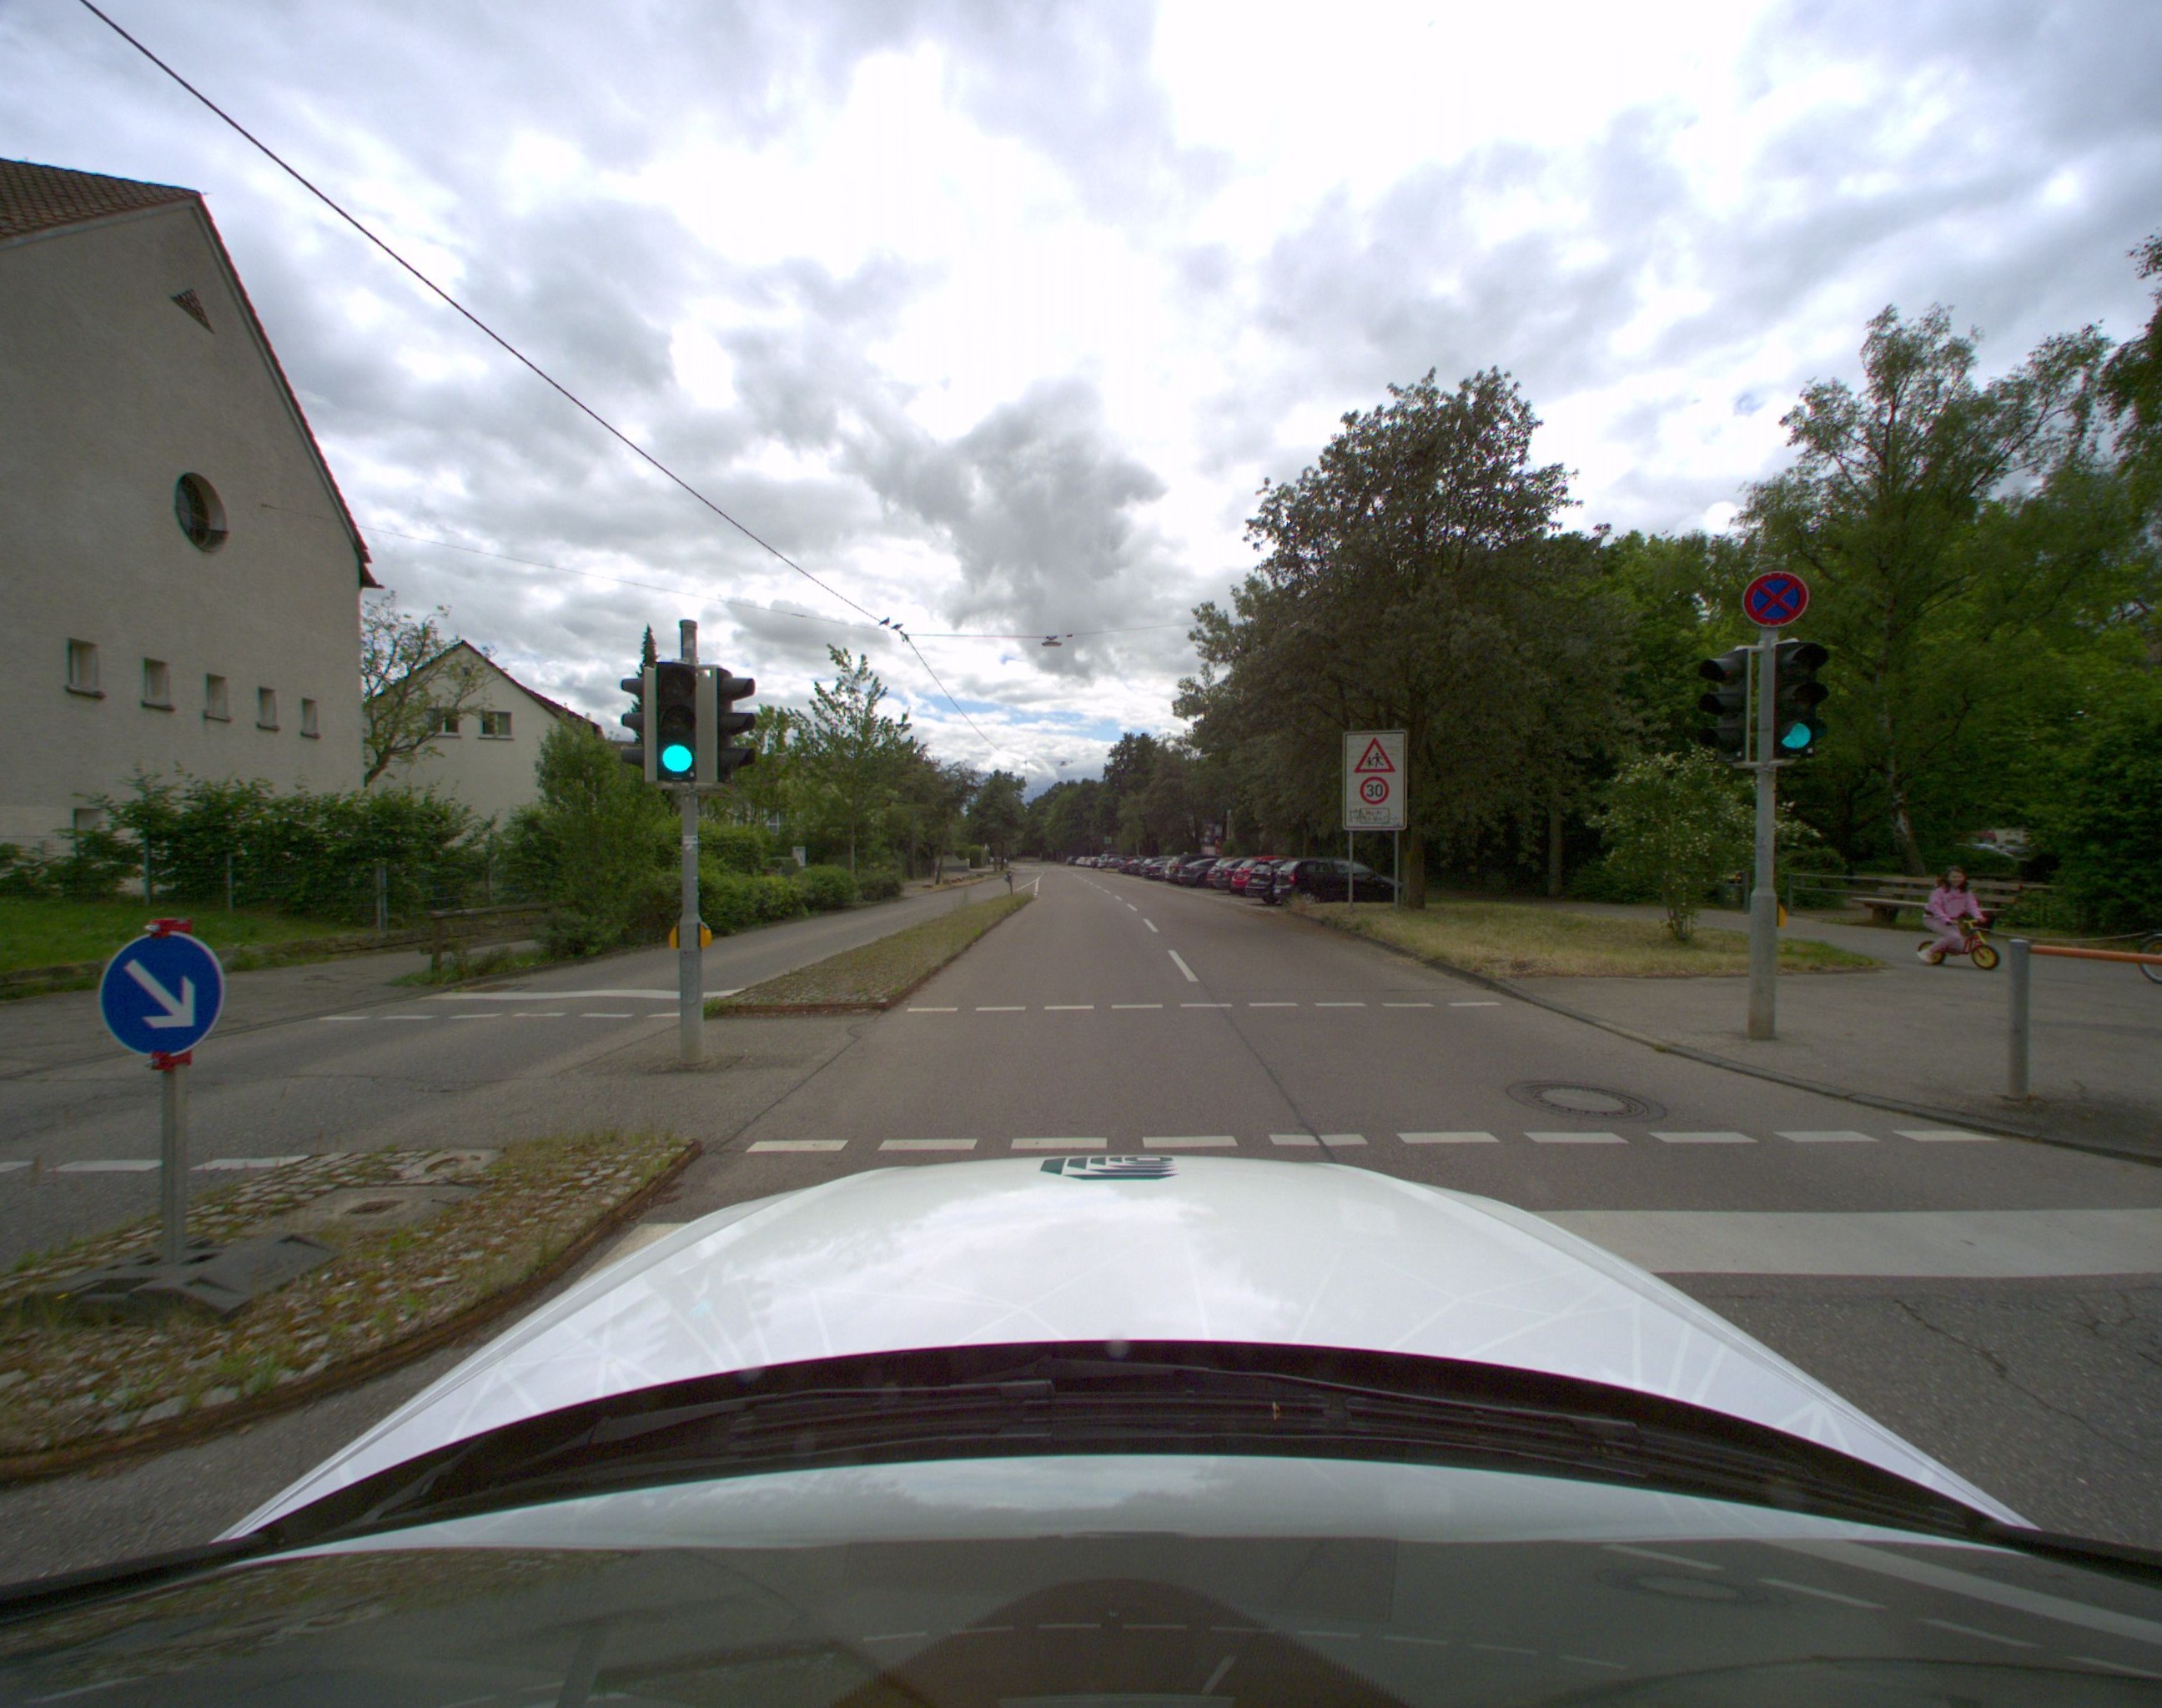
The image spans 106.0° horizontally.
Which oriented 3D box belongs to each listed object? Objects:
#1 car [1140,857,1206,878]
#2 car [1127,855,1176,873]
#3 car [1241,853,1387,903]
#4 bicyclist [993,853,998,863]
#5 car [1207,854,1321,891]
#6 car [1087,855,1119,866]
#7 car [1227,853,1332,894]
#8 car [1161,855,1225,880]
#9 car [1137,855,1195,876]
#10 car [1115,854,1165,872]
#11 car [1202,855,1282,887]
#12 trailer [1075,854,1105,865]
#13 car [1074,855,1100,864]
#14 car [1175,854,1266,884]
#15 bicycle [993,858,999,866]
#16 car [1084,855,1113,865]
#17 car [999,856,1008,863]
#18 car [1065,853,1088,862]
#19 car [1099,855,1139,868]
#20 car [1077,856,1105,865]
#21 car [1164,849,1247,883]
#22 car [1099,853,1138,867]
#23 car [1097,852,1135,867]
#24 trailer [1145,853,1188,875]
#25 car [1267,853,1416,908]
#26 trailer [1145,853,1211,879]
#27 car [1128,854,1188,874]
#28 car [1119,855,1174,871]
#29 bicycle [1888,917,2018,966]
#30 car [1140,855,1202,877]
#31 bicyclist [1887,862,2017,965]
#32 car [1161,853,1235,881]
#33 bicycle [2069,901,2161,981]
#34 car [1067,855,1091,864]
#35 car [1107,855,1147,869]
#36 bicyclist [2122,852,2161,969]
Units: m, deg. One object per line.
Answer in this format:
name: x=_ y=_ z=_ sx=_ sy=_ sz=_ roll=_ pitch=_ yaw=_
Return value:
car: x=5.977 y=0.851 z=52.976 sx=4.039 sy=1.327 sz=1.553 roll=0 pitch=-1 yaw=-12
car: x=5.668 y=0.815 z=65.858 sx=3.620 sy=1.445 sz=1.624 roll=0 pitch=0 yaw=-19
car: x=7.210 y=0.727 z=25.299 sx=4.140 sy=1.476 sz=1.569 roll=0 pitch=0 yaw=-14
bicyclist: x=-13.959 y=0.685 z=133.266 sx=0.843 sy=1.697 sz=0.712 roll=0 pitch=0 yaw=-5
car: x=7.425 y=0.734 z=33.149 sx=4.222 sy=1.464 sz=1.628 roll=0 pitch=0 yaw=-12
car: x=2.948 y=0.871 z=108.093 sx=3.905 sy=1.449 sz=1.828 roll=0 pitch=0 yaw=-27
car: x=7.473 y=0.714 z=30.689 sx=3.529 sy=1.476 sz=1.584 roll=0 pitch=0 yaw=-15
car: x=6.587 y=0.799 z=48.085 sx=3.430 sy=1.445 sz=1.551 roll=0 pitch=-1 yaw=-15
car: x=6.076 y=0.798 z=58.336 sx=3.846 sy=1.455 sz=1.626 roll=0 pitch=0 yaw=-15
car: x=5.147 y=0.757 z=71.246 sx=4.091 sy=1.515 sz=1.719 roll=0 pitch=0 yaw=-25
car: x=7.507 y=0.763 z=38.149 sx=3.329 sy=1.464 sz=1.628 roll=0 pitch=0 yaw=-13
trailer: x=1.406 y=0.857 z=121.403 sx=4.171 sy=1.573 sz=1.699 roll=1 pitch=-1 yaw=-22
car: x=0.965 y=0.855 z=132.434 sx=3.900 sy=1.429 sz=1.730 roll=0 pitch=0 yaw=-23
car: x=6.860 y=0.729 z=40.164 sx=4.165 sy=1.407 sz=1.690 roll=0 pitch=-1 yaw=-14
bicycle: x=-13.967 y=1.275 z=133.305 sx=0.843 sy=1.266 sz=2.648 roll=0 pitch=1 yaw=-4
car: x=2.603 y=0.842 z=119.297 sx=3.902 sy=1.449 sz=1.730 roll=0 pitch=0 yaw=-24
car: x=-17.472 y=1.185 z=183.365 sx=1.867 sy=1.471 sz=3.987 roll=-1 pitch=0 yaw=-10
car: x=-0.800 y=0.642 z=145.128 sx=3.900 sy=1.668 sz=1.730 roll=0 pitch=0 yaw=-23
car: x=4.111 y=0.827 z=88.825 sx=4.042 sy=1.405 sz=1.744 roll=1 pitch=0 yaw=-21
car: x=1.509 y=0.975 z=124.082 sx=3.906 sy=1.309 sz=1.728 roll=0 pitch=0 yaw=-27
car: x=6.542 y=0.639 z=42.833 sx=3.988 sy=1.725 sz=1.673 roll=0 pitch=-1 yaw=-12
car: x=4.237 y=0.678 z=91.747 sx=4.009 sy=1.620 sz=1.873 roll=1 pitch=0 yaw=-19
car: x=4.031 y=0.641 z=94.586 sx=4.111 sy=1.754 sz=1.770 roll=1 pitch=0 yaw=-30
trailer: x=6.395 y=0.734 z=60.871 sx=2.992 sy=1.542 sz=1.296 roll=0 pitch=0 yaw=-16
car: x=7.286 y=0.714 z=22.944 sx=3.710 sy=1.476 sz=1.574 roll=0 pitch=0 yaw=-5
trailer: x=5.974 y=0.714 z=50.340 sx=3.693 sy=1.535 sz=1.638 roll=1 pitch=0 yaw=-14
car: x=5.943 y=0.771 z=62.982 sx=4.354 sy=1.445 sz=1.625 roll=0 pitch=0 yaw=-17
car: x=5.496 y=0.764 z=68.241 sx=4.322 sy=1.341 sz=1.724 roll=0 pitch=0 yaw=-17
bicycle: x=10.475 y=1.036 z=9.819 sx=0.516 sy=0.497 sz=0.989 roll=-1 pitch=-1 yaw=1
car: x=6.144 y=0.786 z=55.768 sx=3.922 sy=1.486 sz=1.608 roll=0 pitch=0 yaw=-18
bicyclist: x=10.482 y=0.690 z=9.840 sx=0.516 sy=1.187 sz=0.968 roll=-1 pitch=-1 yaw=1
car: x=6.528 y=0.740 z=45.622 sx=3.817 sy=1.529 sz=1.602 roll=0 pitch=-1 yaw=-7
bicycle: x=11.006 y=0.875 z=7.977 sx=0.637 sy=0.758 sz=1.681 roll=-1 pitch=-1 yaw=1
car: x=-0.372 y=0.937 z=142.360 sx=3.900 sy=1.429 sz=1.730 roll=0 pitch=0 yaw=-23
car: x=4.862 y=0.834 z=86.181 sx=3.975 sy=1.405 sz=1.746 roll=1 pitch=0 yaw=-18
bicyclist: x=11.018 y=0.557 z=7.957 sx=0.637 sy=1.162 sz=0.804 roll=-1 pitch=-1 yaw=1
